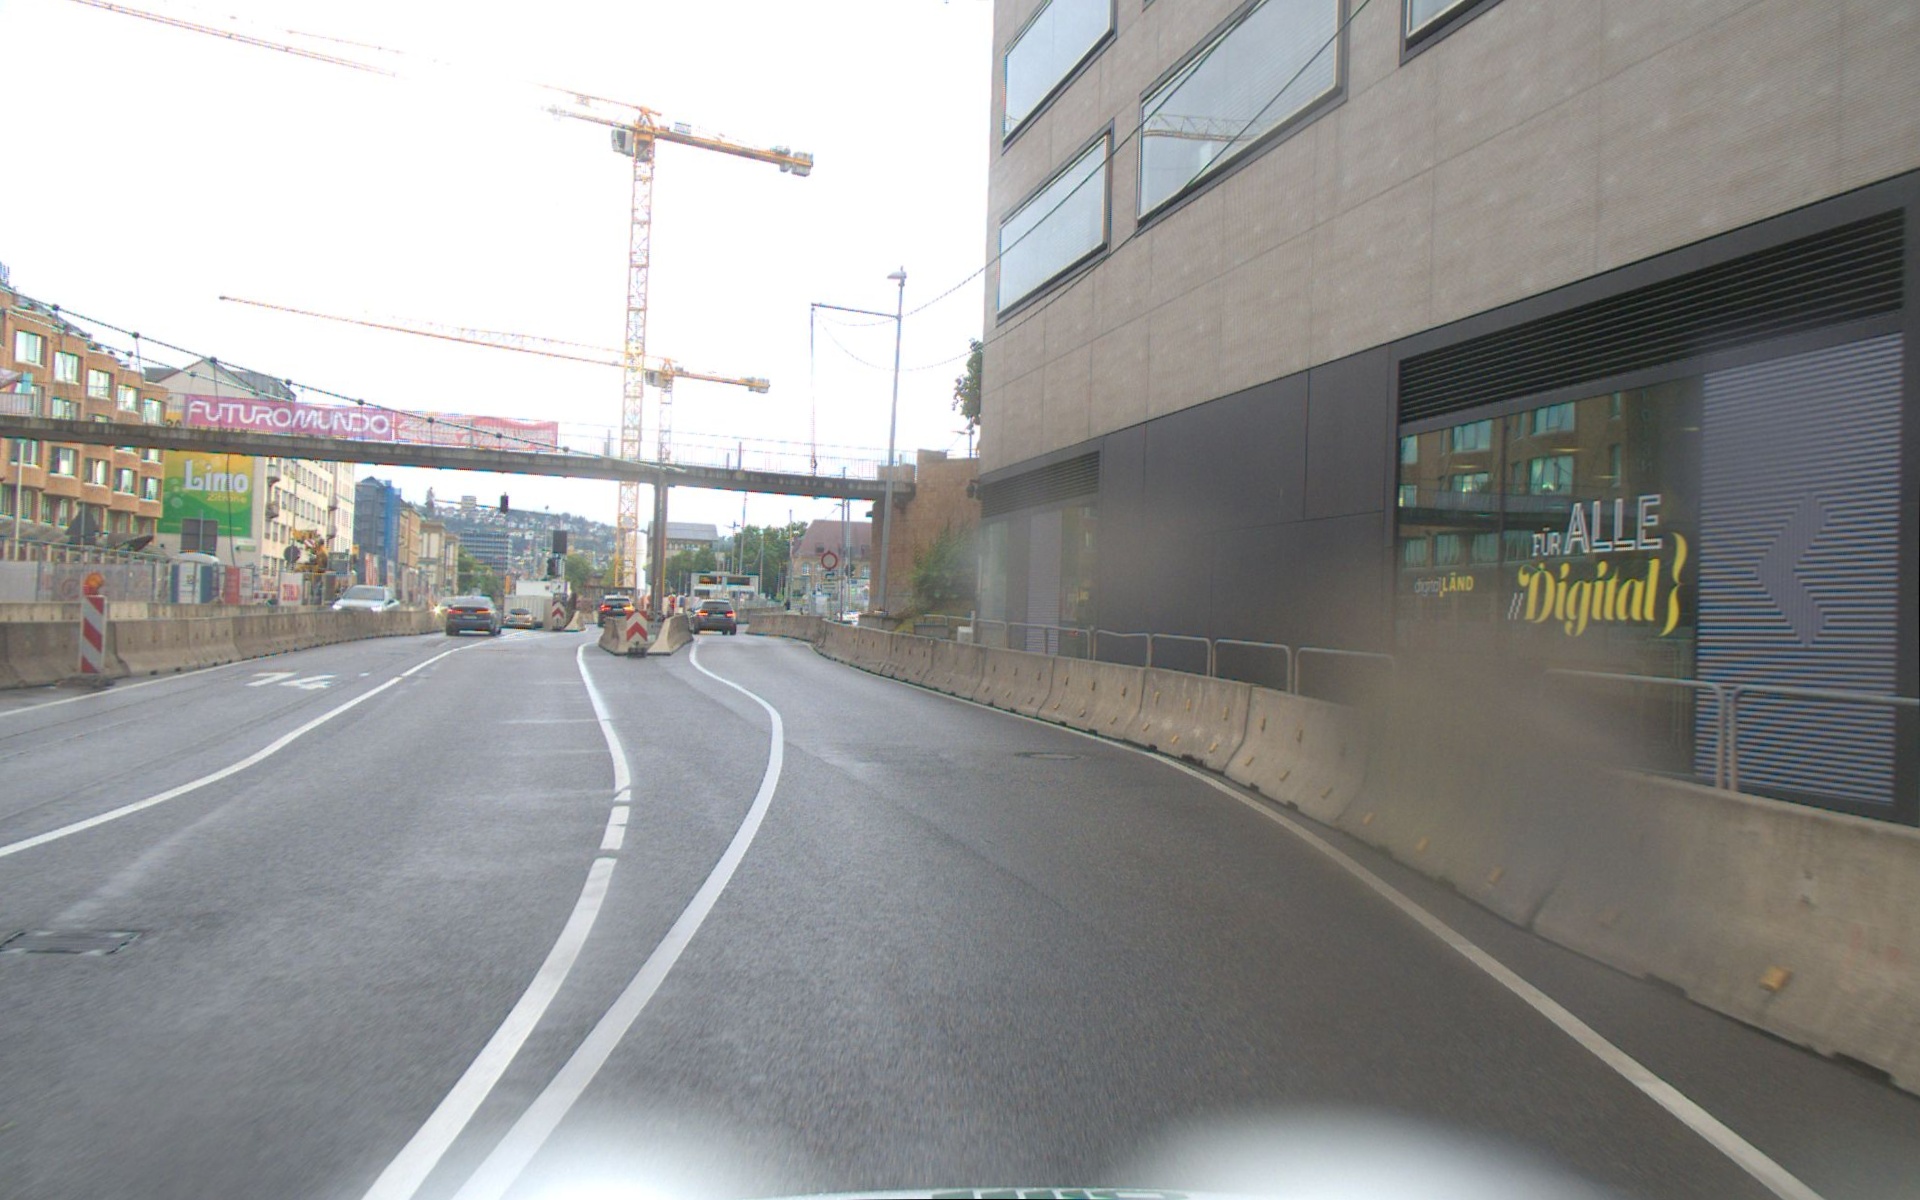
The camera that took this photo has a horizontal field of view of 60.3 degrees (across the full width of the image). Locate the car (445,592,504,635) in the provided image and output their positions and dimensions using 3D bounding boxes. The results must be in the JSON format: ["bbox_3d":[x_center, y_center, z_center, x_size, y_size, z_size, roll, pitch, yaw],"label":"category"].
[{"bbox_3d":[-18.171,0.476,62.065,1.831,1.468,4.639,3,-1,-14],"label":"car"}]

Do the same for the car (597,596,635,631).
[{"bbox_3d":[-18.100,0.691,87.180,1.829,1.689,4.644,3,-1,-11],"label":"car"}]

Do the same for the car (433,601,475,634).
[{"bbox_3d":[-28.436,0.954,92.999,1.773,1.651,3.893,2,2,-11],"label":"car"}]

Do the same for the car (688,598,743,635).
[{"bbox_3d":[-10.433,0.691,70.388,1.831,1.458,4.639,3,-1,-14],"label":"car"}]

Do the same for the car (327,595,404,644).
[{"bbox_3d":[-21.747,0.674,60.639,1.958,1.651,4.688,2,0,-12],"label":"car"}]

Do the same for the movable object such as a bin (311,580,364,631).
[{"bbox_3d":[-29.717,0.265,79.024,1.994,2.317,4.274,-1,0,-16],"label":"movable object such as a bin"}]

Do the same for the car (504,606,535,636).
[{"bbox_3d":[-28.347,1.344,106.490,1.832,1.796,4.638,3,-1,-14],"label":"car"}]
